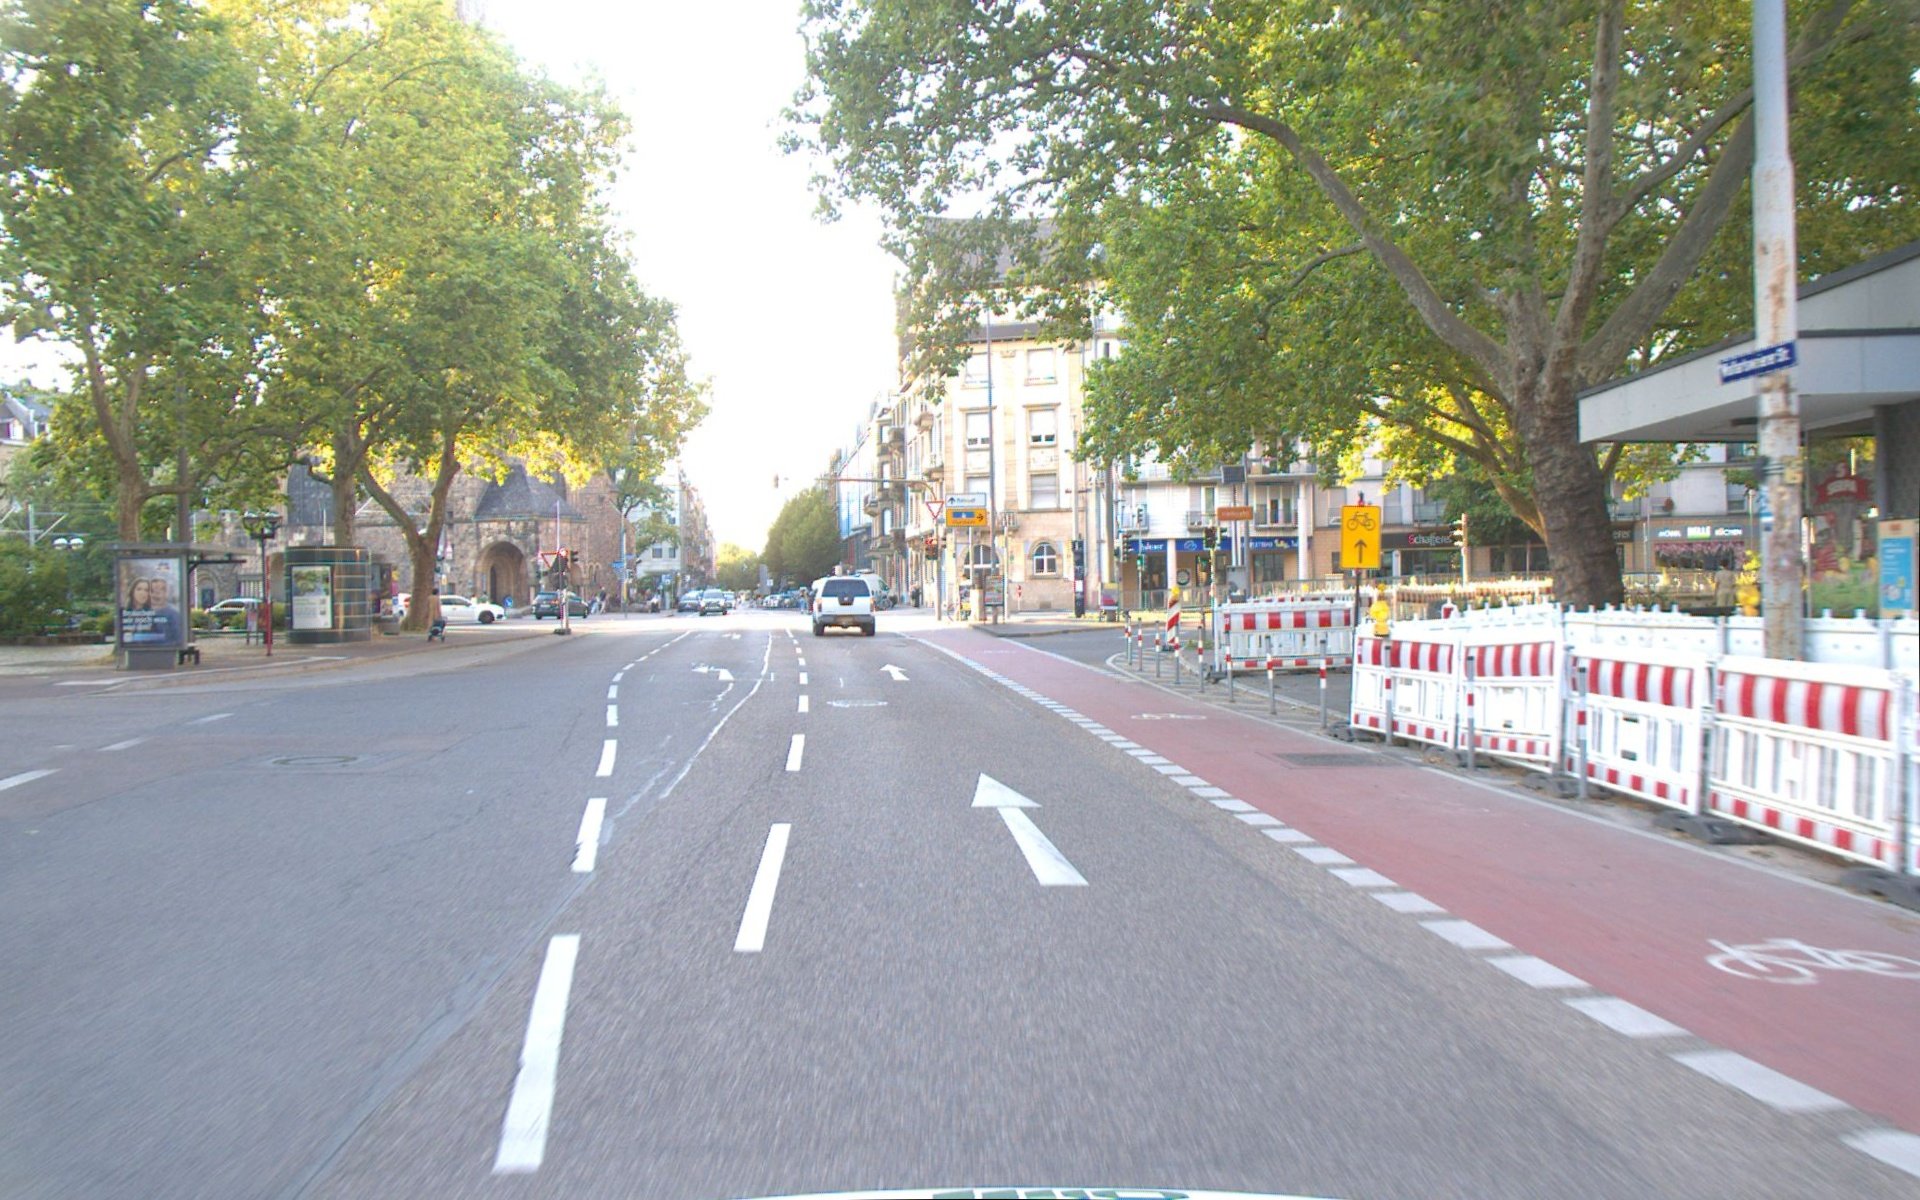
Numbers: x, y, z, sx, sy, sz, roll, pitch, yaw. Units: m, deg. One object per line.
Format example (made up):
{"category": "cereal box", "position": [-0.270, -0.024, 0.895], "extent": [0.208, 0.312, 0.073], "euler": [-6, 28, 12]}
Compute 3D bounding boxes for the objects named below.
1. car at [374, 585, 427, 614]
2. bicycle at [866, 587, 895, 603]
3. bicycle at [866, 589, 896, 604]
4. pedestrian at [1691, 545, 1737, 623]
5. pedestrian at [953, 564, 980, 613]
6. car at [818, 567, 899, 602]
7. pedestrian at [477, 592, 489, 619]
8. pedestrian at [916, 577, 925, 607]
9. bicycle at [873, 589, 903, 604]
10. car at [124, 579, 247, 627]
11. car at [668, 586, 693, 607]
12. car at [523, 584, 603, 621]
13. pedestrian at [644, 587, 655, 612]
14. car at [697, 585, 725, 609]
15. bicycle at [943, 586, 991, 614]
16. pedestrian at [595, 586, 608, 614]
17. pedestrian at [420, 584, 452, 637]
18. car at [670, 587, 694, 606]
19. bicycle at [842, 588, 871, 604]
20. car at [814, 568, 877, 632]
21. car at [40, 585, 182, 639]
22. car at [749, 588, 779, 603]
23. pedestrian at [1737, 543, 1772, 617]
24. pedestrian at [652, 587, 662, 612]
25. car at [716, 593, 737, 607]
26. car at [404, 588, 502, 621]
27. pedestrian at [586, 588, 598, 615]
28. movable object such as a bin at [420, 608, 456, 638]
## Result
{"category": "car", "position": [-39.028, -0.064, 115.480], "extent": [1.672, 1.943, 3.496], "euler": [-1, 1, 20]}
{"category": "bicycle", "position": [-5.152, -0.349, 107.298], "extent": [1.877, 0.985, 0.545], "euler": [-1, 0, -5]}
{"category": "bicycle", "position": [-5.141, -0.233, 107.580], "extent": [1.877, 0.985, 0.545], "euler": [-1, 0, -5]}
{"category": "pedestrian", "position": [17.549, -0.384, 38.491], "extent": [0.651, 1.789, 0.713], "euler": [-1, 0, -20]}
{"category": "pedestrian", "position": [0.227, -0.425, 61.220], "extent": [0.783, 1.799, 0.717], "euler": [-1, 0, -21]}
{"category": "car", "position": [-6.930, -1.104, 113.706], "extent": [2.037, 2.327, 5.785], "euler": [0, 1, 43]}
{"category": "pedestrian", "position": [-29.519, 0.330, 102.371], "extent": [0.544, 1.611, 0.548], "euler": [-1, 0, 4]}
{"category": "pedestrian", "position": [-2.518, -0.528, 105.949], "extent": [0.581, 1.919, 0.647], "euler": [-1, 0, -1]}
{"category": "bicycle", "position": [-4.729, -0.231, 108.396], "extent": [1.874, 0.985, 0.546], "euler": [-1, 0, 11]}
{"category": "car", "position": [-32.555, 0.097, 69.681], "extent": [2.034, 1.873, 4.634], "euler": [-1, 1, 18]}
{"category": "car", "position": [-23.482, -0.284, 138.964], "extent": [1.958, 1.680, 3.811], "euler": [0, 0, -11]}
{"category": "car", "position": [-21.392, 0.120, 89.323], "extent": [2.034, 1.873, 4.634], "euler": [-1, 1, 18]}
{"category": "pedestrian", "position": [-24.108, -0.029, 128.290], "extent": [0.581, 1.919, 0.585], "euler": [-1, 0, 20]}
{"category": "car", "position": [-17.694, -0.236, 117.507], "extent": [1.750, 1.680, 3.811], "euler": [0, 0, -11]}
{"category": "bicycle", "position": [0.251, 0.010, 60.724], "extent": [1.661, 0.985, 0.544], "euler": [-1, 0, -10]}
{"category": "pedestrian", "position": [-25.259, -0.009, 116.437], "extent": [0.641, 1.919, 0.585], "euler": [-1, 0, 24]}
{"category": "pedestrian", "position": [-16.621, 0.322, 52.500], "extent": [0.722, 1.657, 0.686], "euler": [-1, 0, 8]}
{"category": "car", "position": [-24.665, -0.328, 146.606], "extent": [1.958, 1.680, 3.811], "euler": [0, 0, -11]}
{"category": "bicycle", "position": [-6.781, -0.253, 108.695], "extent": [1.877, 0.985, 0.545], "euler": [-1, 0, -5]}
{"category": "car", "position": [-3.582, -0.022, 51.478], "extent": [1.829, 1.846, 3.996], "euler": [-2, 1, -5]}
{"category": "car", "position": [-31.923, 0.429, 62.366], "extent": [2.034, 1.873, 4.634], "euler": [-1, 1, 18]}
{"category": "car", "position": [-26.069, -0.579, 219.718], "extent": [3.914, 1.847, 1.996], "euler": [-1, 1, -10]}
{"category": "pedestrian", "position": [19.683, -0.495, 40.969], "extent": [0.700, 1.789, 0.663], "euler": [-1, 0, 21]}
{"category": "pedestrian", "position": [-23.479, -0.022, 128.103], "extent": [0.581, 1.919, 0.554], "euler": [-1, 0, 19]}
{"category": "car", "position": [-25.031, -0.001, 177.093], "extent": [1.958, 1.533, 3.811], "euler": [0, 0, -11]}
{"category": "car", "position": [-25.114, 0.216, 82.024], "extent": [4.553, 1.556, 1.992], "euler": [-1, 1, -16]}
{"category": "pedestrian", "position": [-25.945, 0.105, 116.524], "extent": [0.581, 1.919, 0.553], "euler": [-1, 0, 24]}
{"category": "movable object such as a bin", "position": [-16.278, 0.725, 51.597], "extent": [0.722, 0.906, 0.983], "euler": [-1, 1, 8]}
